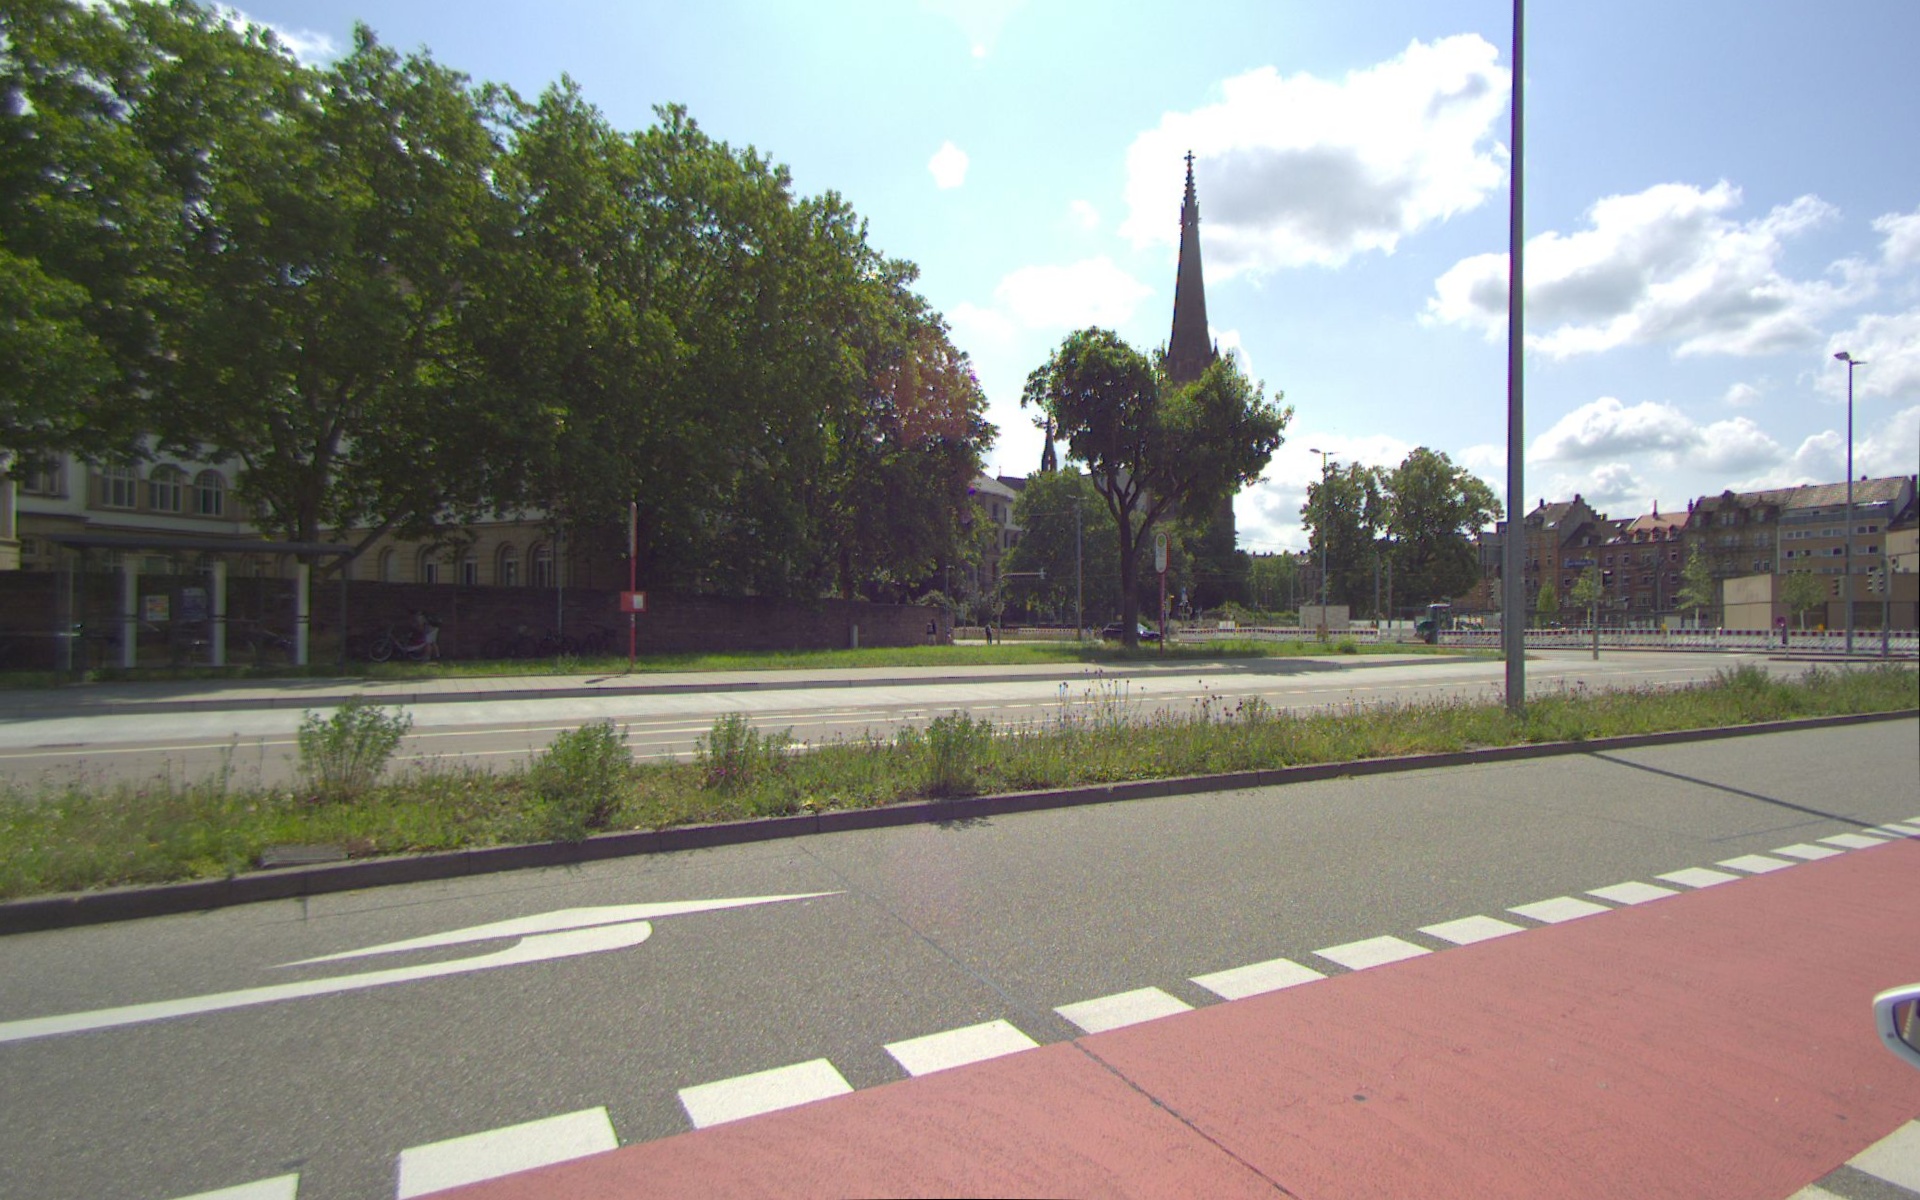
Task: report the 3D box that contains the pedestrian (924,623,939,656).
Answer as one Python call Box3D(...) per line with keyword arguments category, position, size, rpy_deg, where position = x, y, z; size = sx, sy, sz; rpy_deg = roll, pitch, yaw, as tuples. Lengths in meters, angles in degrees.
Box3D(category="pedestrian", position=(-1.471, 2.047, 52.284), size=(0.479, 1.718, 0.679), rpy_deg=(2, 0, 21))

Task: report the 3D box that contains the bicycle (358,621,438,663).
Box3D(category="bicycle", position=(-16.228, 1.197, 29.035), size=(0.391, 1.152, 2.032), rpy_deg=(0, -1, 36))

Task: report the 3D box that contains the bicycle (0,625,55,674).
Box3D(category="bicycle", position=(-21.245, 1.086, 22.100), size=(0.392, 1.057, 1.948), rpy_deg=(0, -1, 40))

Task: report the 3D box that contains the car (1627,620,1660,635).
Box3D(category="car", position=(113.580, 4.512, 167.039), size=(1.972, 2.374, 4.097), rpy_deg=(2, 0, -23))

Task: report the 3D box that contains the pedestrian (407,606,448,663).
Box3D(category="pedestrian", position=(-15.451, 0.992, 29.157), size=(0.710, 1.632, 0.779), rpy_deg=(0, -1, 31))

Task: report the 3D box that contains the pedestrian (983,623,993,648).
Box3D(category="pedestrian", position=(2.068, 2.650, 74.734), size=(0.561, 1.844, 0.436), rpy_deg=(2, 0, 43))

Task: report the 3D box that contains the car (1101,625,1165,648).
Box3D(category="car", position=(11.887, 2.470, 69.346), size=(1.976, 1.505, 4.475), rpy_deg=(1, -1, -30))

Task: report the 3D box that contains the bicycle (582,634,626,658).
Box3D(category="bicycle", position=(-12.325, 1.577, 34.810), size=(0.391, 0.799, 1.540), rpy_deg=(0, -1, 33))

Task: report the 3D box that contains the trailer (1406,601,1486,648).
Box3D(category="trailer", position=(32.194, 1.611, 66.639), size=(4.277, 2.952, 2.001), rpy_deg=(2, 0, 7))

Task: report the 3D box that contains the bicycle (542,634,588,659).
Box3D(category="bicycle", position=(-13.146, 1.545, 33.451), size=(0.391, 0.799, 1.462), rpy_deg=(0, -1, 33))

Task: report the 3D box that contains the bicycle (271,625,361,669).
Box3D(category="bicycle", position=(-17.450, 1.246, 27.266), size=(0.391, 1.152, 2.032), rpy_deg=(0, -1, 36))

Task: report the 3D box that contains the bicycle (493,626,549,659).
Box3D(category="bicycle", position=(-14.027, 1.350, 32.120), size=(0.391, 1.043, 1.683), rpy_deg=(0, -1, 33))
